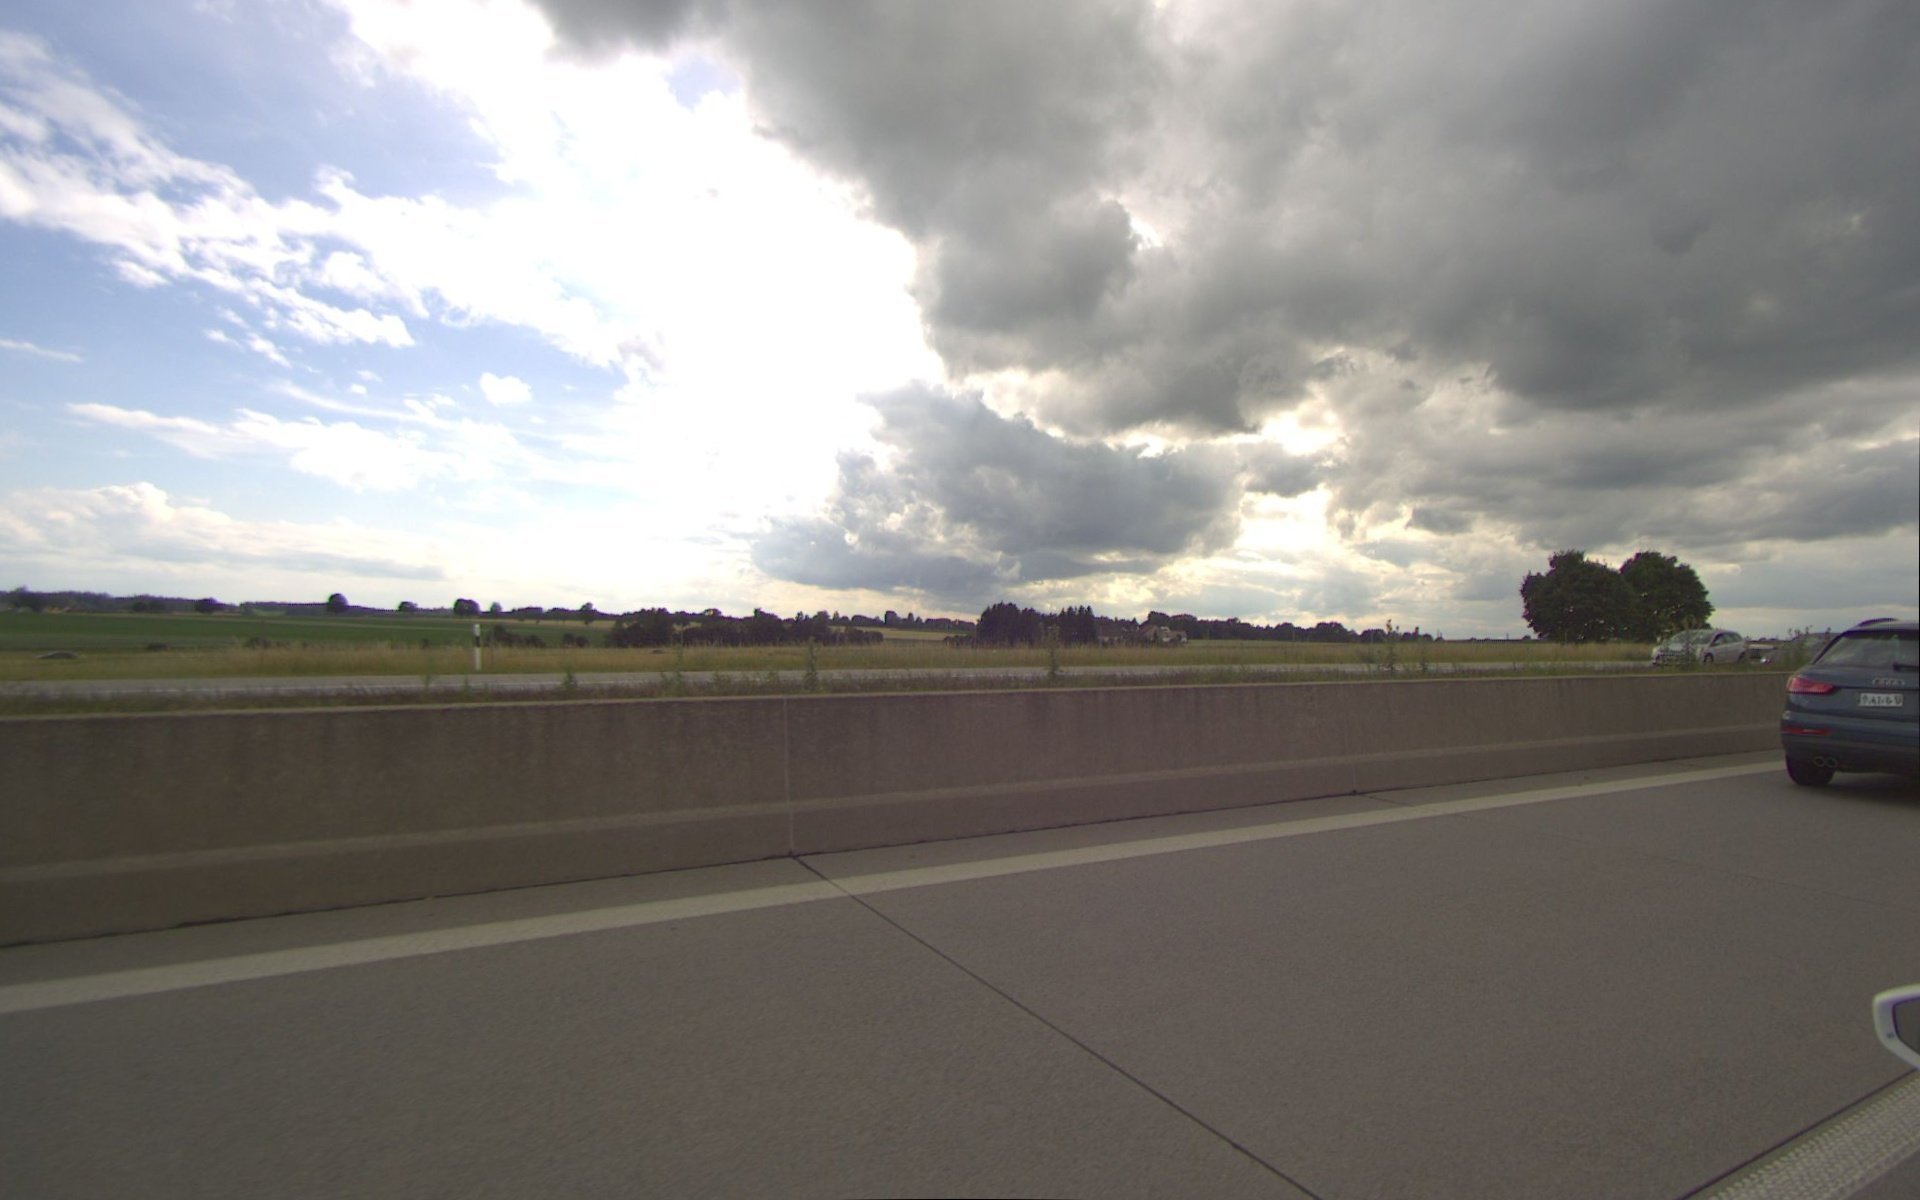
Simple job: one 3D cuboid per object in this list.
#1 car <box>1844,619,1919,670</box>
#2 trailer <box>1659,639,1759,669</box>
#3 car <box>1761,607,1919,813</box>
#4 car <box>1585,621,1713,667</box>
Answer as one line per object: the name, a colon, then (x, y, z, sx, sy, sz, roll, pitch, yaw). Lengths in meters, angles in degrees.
car: (34.614, 1.636, 36.857, 4.620, 1.716, 1.892, 2, 0, -30)
trailer: (28.490, 2.070, 38.206, 3.521, 0.996, 1.778, 2, 0, -30)
car: (9.702, 0.941, 9.526, 5.102, 1.617, 1.782, 2, 0, -33)
car: (24.809, 1.595, 36.143, 4.792, 1.490, 1.888, 2, 0, -30)
